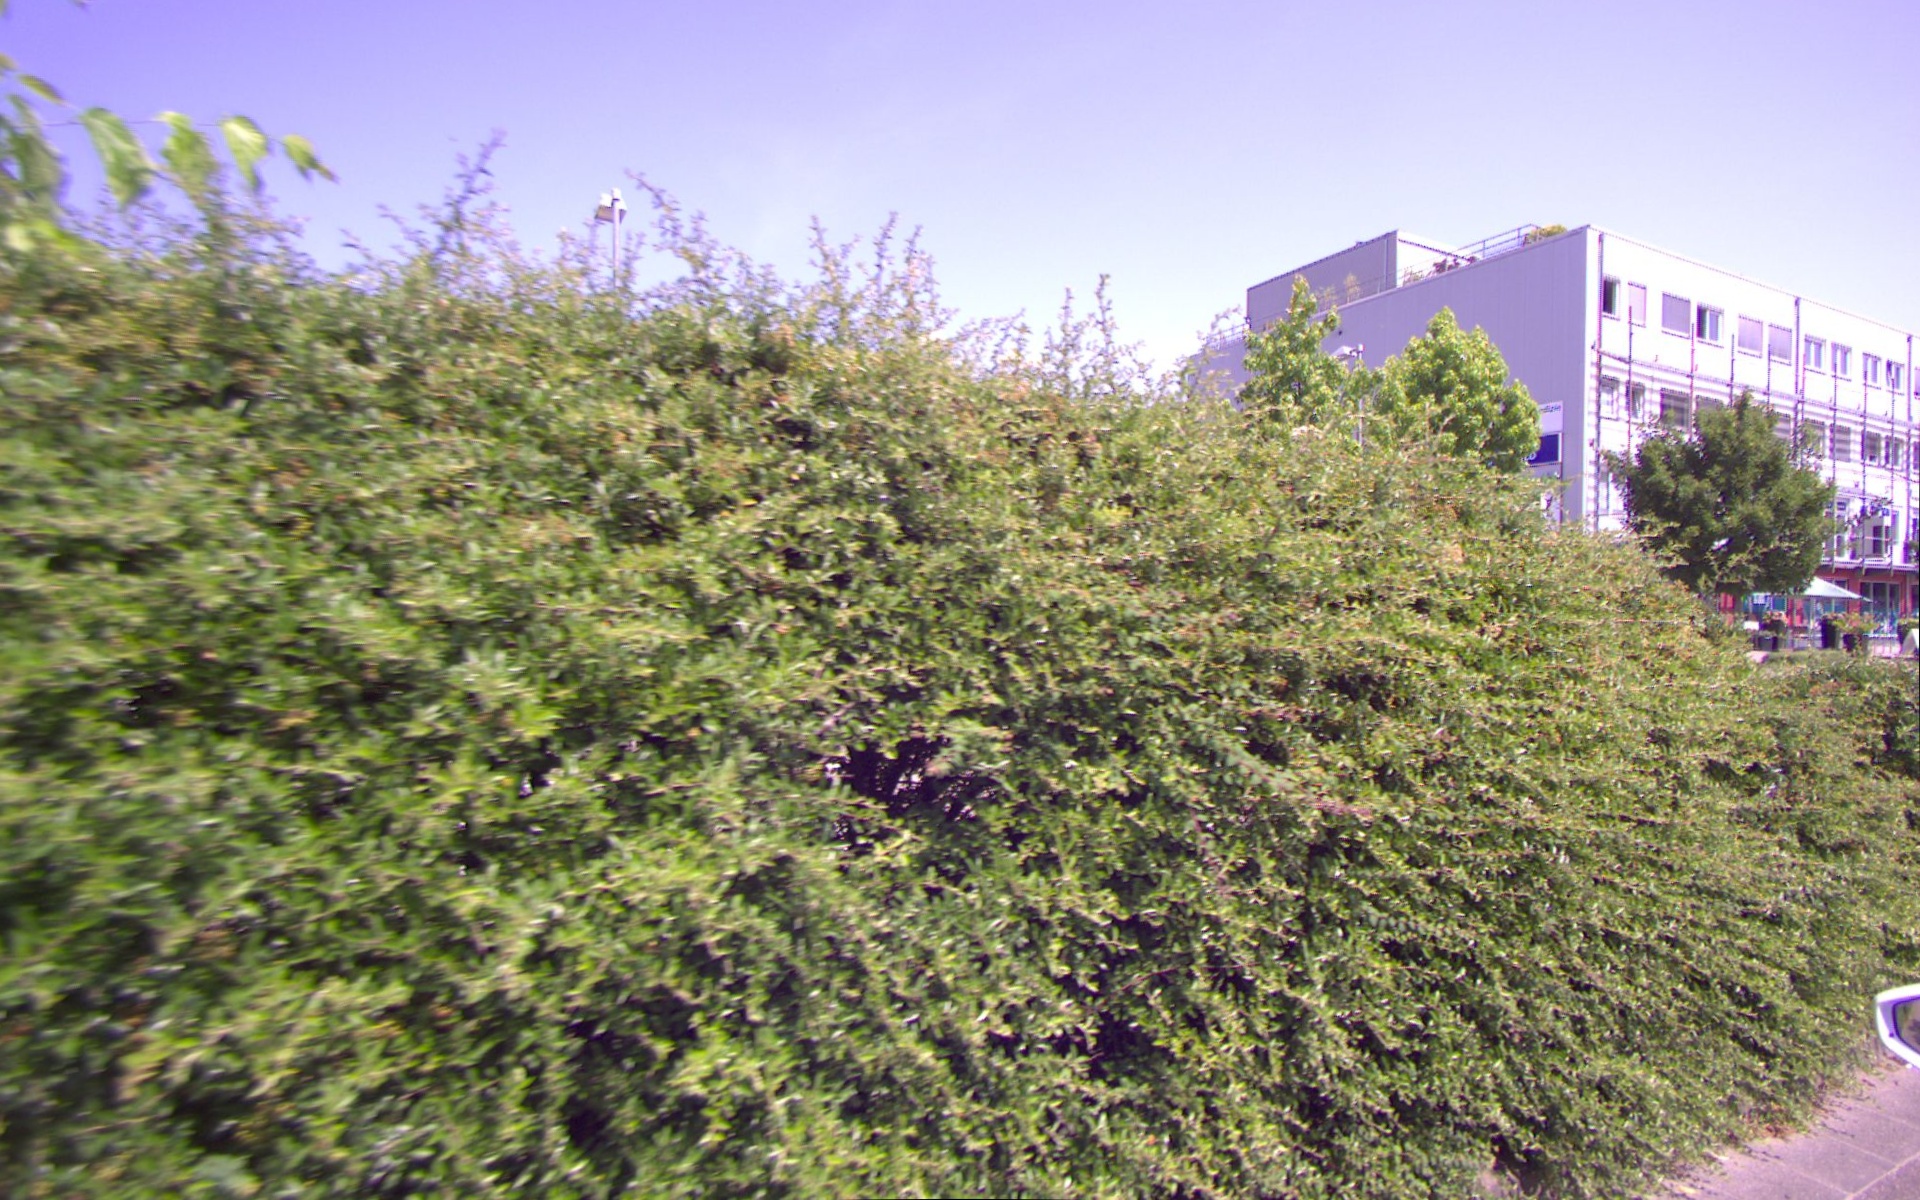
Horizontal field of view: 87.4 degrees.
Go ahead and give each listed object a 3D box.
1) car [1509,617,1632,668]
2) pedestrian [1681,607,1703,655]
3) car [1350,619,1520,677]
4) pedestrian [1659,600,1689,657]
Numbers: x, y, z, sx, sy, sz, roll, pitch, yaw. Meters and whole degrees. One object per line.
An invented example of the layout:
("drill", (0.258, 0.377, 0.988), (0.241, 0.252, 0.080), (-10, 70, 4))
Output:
("car", (18.993, 1.306, 31.230), (3.752, 1.486, 1.652), (1, -3, -30))
("pedestrian", (25.172, 1.070, 34.545), (0.387, 1.641, 0.527), (1, -1, -28))
("car", (12.066, 1.188, 25.729), (1.758, 1.382, 3.644), (1, -2, -27))
("pedestrian", (23.762, 0.949, 33.449), (0.492, 1.891, 0.673), (1, -1, -28))
